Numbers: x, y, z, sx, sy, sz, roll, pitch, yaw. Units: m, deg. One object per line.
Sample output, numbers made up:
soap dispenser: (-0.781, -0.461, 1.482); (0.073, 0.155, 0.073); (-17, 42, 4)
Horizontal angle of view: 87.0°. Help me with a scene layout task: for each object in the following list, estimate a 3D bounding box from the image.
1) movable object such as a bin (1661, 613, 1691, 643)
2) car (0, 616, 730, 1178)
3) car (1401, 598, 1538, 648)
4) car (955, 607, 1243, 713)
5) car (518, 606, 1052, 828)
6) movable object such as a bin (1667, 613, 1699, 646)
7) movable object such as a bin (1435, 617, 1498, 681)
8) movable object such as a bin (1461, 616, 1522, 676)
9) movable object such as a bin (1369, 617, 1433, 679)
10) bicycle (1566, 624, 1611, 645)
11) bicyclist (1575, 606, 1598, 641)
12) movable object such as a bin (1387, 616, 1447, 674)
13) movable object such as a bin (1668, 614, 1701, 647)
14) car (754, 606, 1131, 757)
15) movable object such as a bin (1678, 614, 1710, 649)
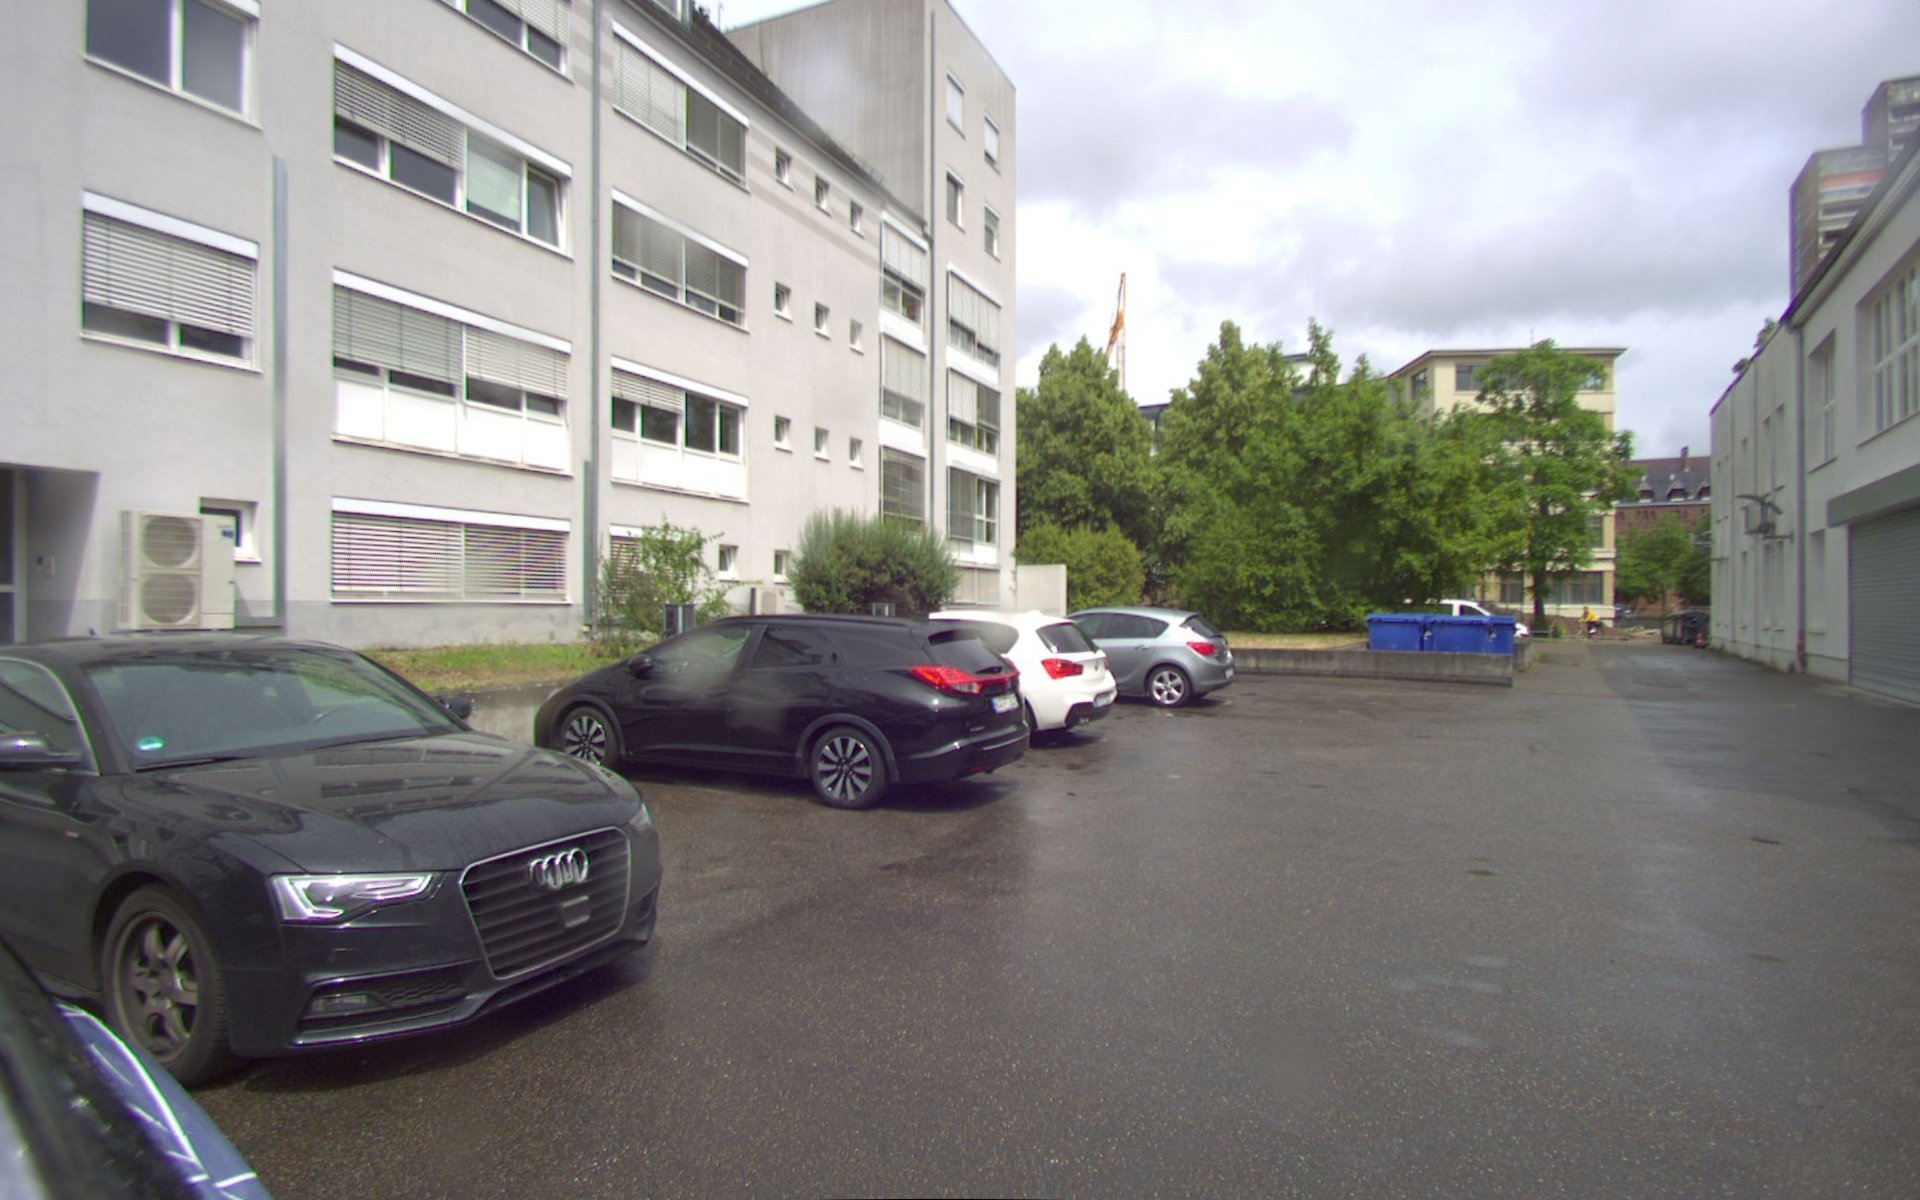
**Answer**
movable object such as a bin: (32.855, 1.275, 46.430); (1.064, 1.366, 1.250); (-1, -1, 34)
car: (-3.361, 0.805, 4.426); (4.504, 1.362, 1.748); (1, 0, 26)
car: (18.800, 0.829, 37.430); (4.326, 1.740, 1.702); (-1, -1, 36)
car: (2.218, 0.869, 16.251); (4.291, 1.453, 1.748); (1, 0, 25)
car: (-1.523, 0.816, 8.665); (4.290, 1.453, 1.749); (1, 0, 25)
movable object such as a bin: (31.353, 1.280, 43.922); (1.061, 1.366, 1.204); (-1, -1, 34)
movable object such as a bin: (11.149, 1.057, 22.282); (1.092, 1.335, 1.194); (-1, -1, 34)
movable object such as a bin: (12.394, 1.058, 23.577); (1.128, 1.338, 1.194); (-1, -1, 34)
movable object such as a bin: (10.019, 1.070, 22.993); (1.128, 1.338, 1.194); (-1, -1, 34)
bicycle: (30.489, 1.667, 49.131); (1.847, 0.989, 0.672); (-1, -1, -9)
bicyclist: (30.417, 1.151, 49.123); (0.640, 1.662, 0.669); (-1, -1, -10)
movable object such as a bin: (10.988, 1.065, 24.340); (1.128, 1.338, 1.194); (-1, -1, 34)
movable object such as a bin: (30.616, 1.283, 42.778); (1.043, 1.366, 1.194); (-1, -1, 34)
car: (-0.232, 0.824, 11.811); (4.103, 1.453, 1.681); (1, 0, 26)
movable object such as a bin: (29.932, 1.283, 41.277); (0.976, 1.366, 0.909); (-1, -1, 34)
